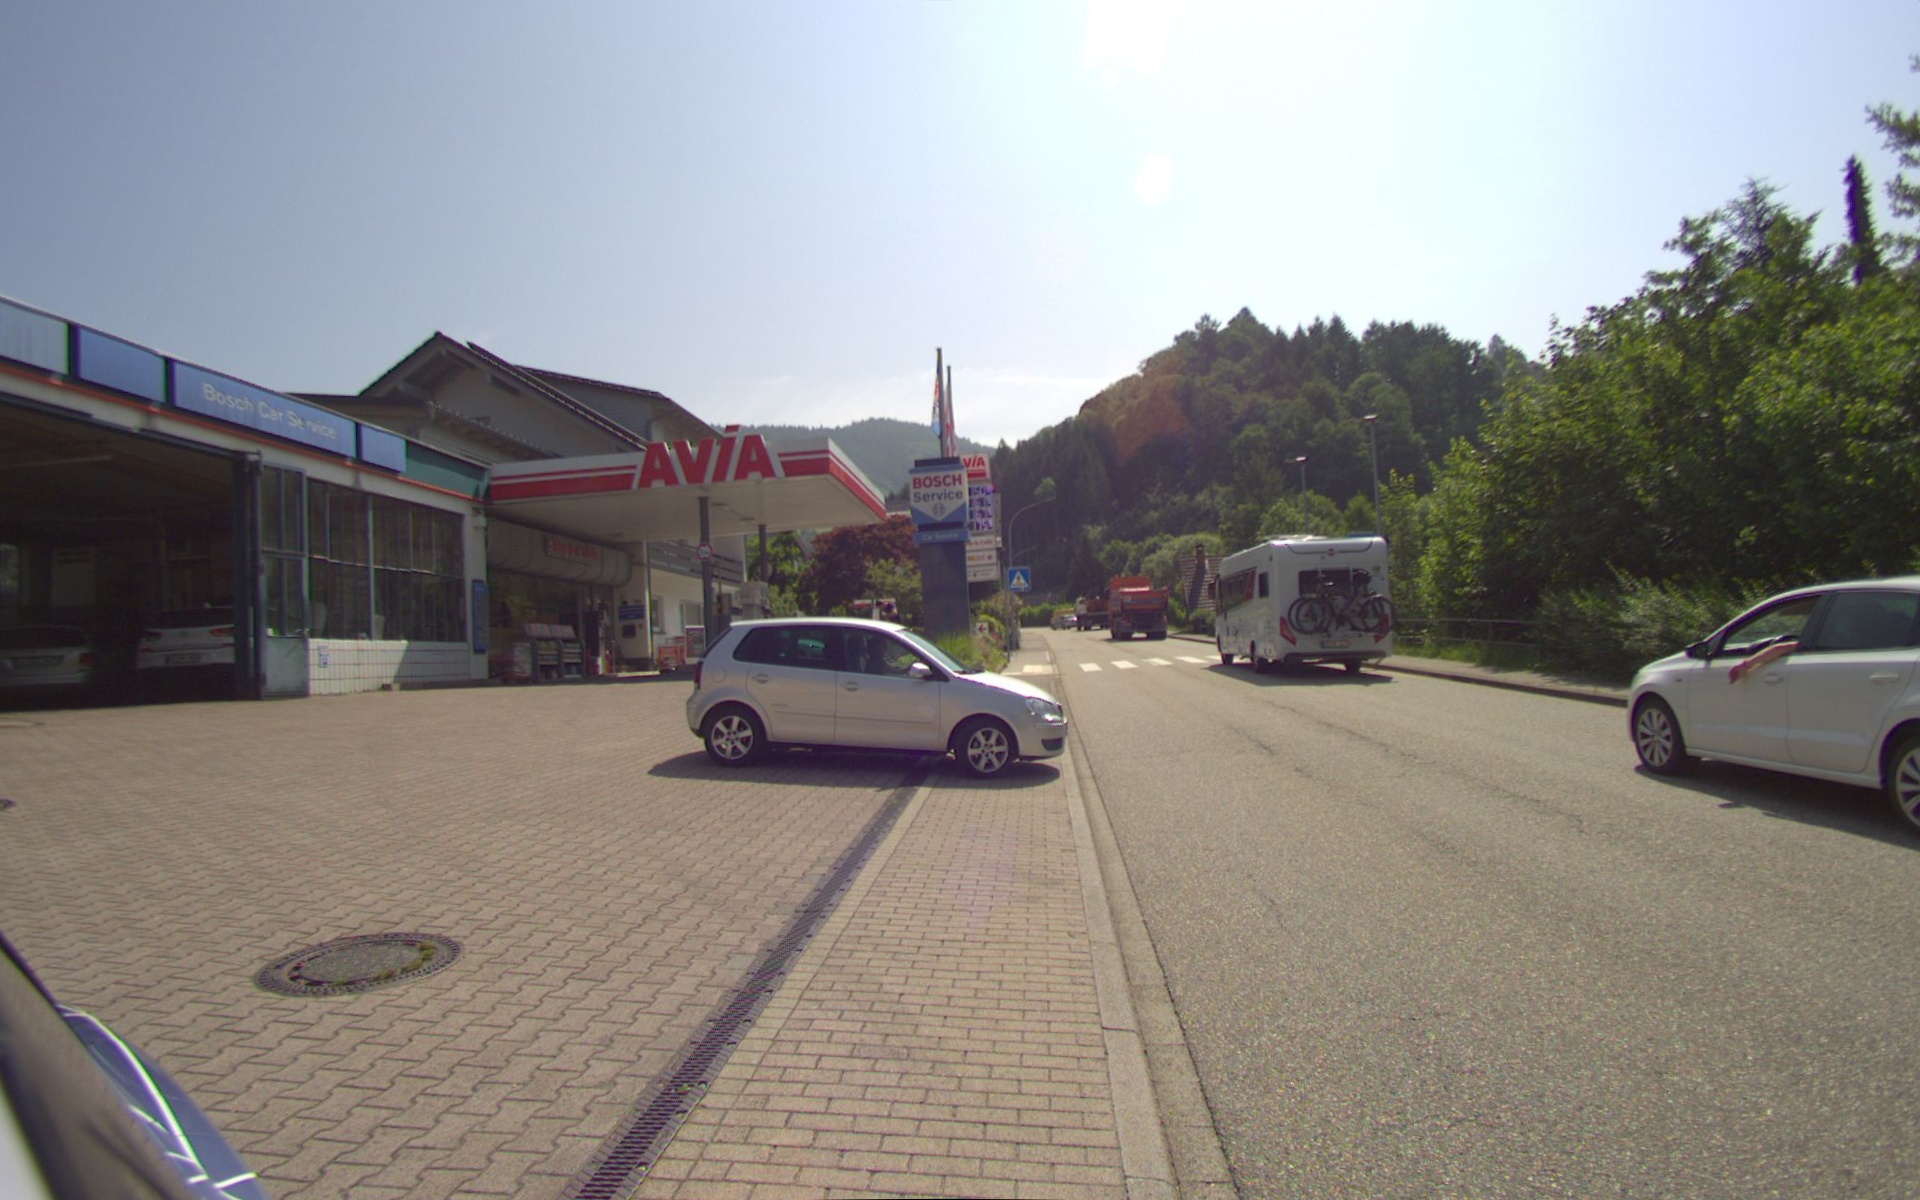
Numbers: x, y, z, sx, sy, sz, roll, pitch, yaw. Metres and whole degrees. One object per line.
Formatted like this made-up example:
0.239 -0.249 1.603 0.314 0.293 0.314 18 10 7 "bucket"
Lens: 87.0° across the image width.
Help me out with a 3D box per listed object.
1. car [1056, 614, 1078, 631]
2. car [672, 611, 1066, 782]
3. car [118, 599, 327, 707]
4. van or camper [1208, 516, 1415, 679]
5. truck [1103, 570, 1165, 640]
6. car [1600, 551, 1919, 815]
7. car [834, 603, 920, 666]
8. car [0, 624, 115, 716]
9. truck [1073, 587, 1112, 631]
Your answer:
10.539 2.203 99.507 1.763 1.586 3.598 0 -1 0 "car"
-0.821 0.897 10.268 3.710 1.493 1.593 1 -1 5 "car"
-12.992 0.866 18.135 1.579 1.701 3.940 0 -1 -13 "car"
7.537 0.068 22.942 2.336 2.975 8.039 -2 -2 5 "van or camper"
9.715 0.332 57.109 2.619 3.609 8.181 -2 -1 5 "truck"
6.006 0.442 6.440 1.589 1.416 3.822 -1 -1 4 "car"
-2.183 0.888 27.524 1.676 1.589 3.904 0 -1 5 "car"
-15.911 1.261 17.663 1.523 1.417 3.486 0 -5 -36 "car"
11.476 0.779 88.318 2.617 3.609 7.767 -2 -1 2 "truck"
